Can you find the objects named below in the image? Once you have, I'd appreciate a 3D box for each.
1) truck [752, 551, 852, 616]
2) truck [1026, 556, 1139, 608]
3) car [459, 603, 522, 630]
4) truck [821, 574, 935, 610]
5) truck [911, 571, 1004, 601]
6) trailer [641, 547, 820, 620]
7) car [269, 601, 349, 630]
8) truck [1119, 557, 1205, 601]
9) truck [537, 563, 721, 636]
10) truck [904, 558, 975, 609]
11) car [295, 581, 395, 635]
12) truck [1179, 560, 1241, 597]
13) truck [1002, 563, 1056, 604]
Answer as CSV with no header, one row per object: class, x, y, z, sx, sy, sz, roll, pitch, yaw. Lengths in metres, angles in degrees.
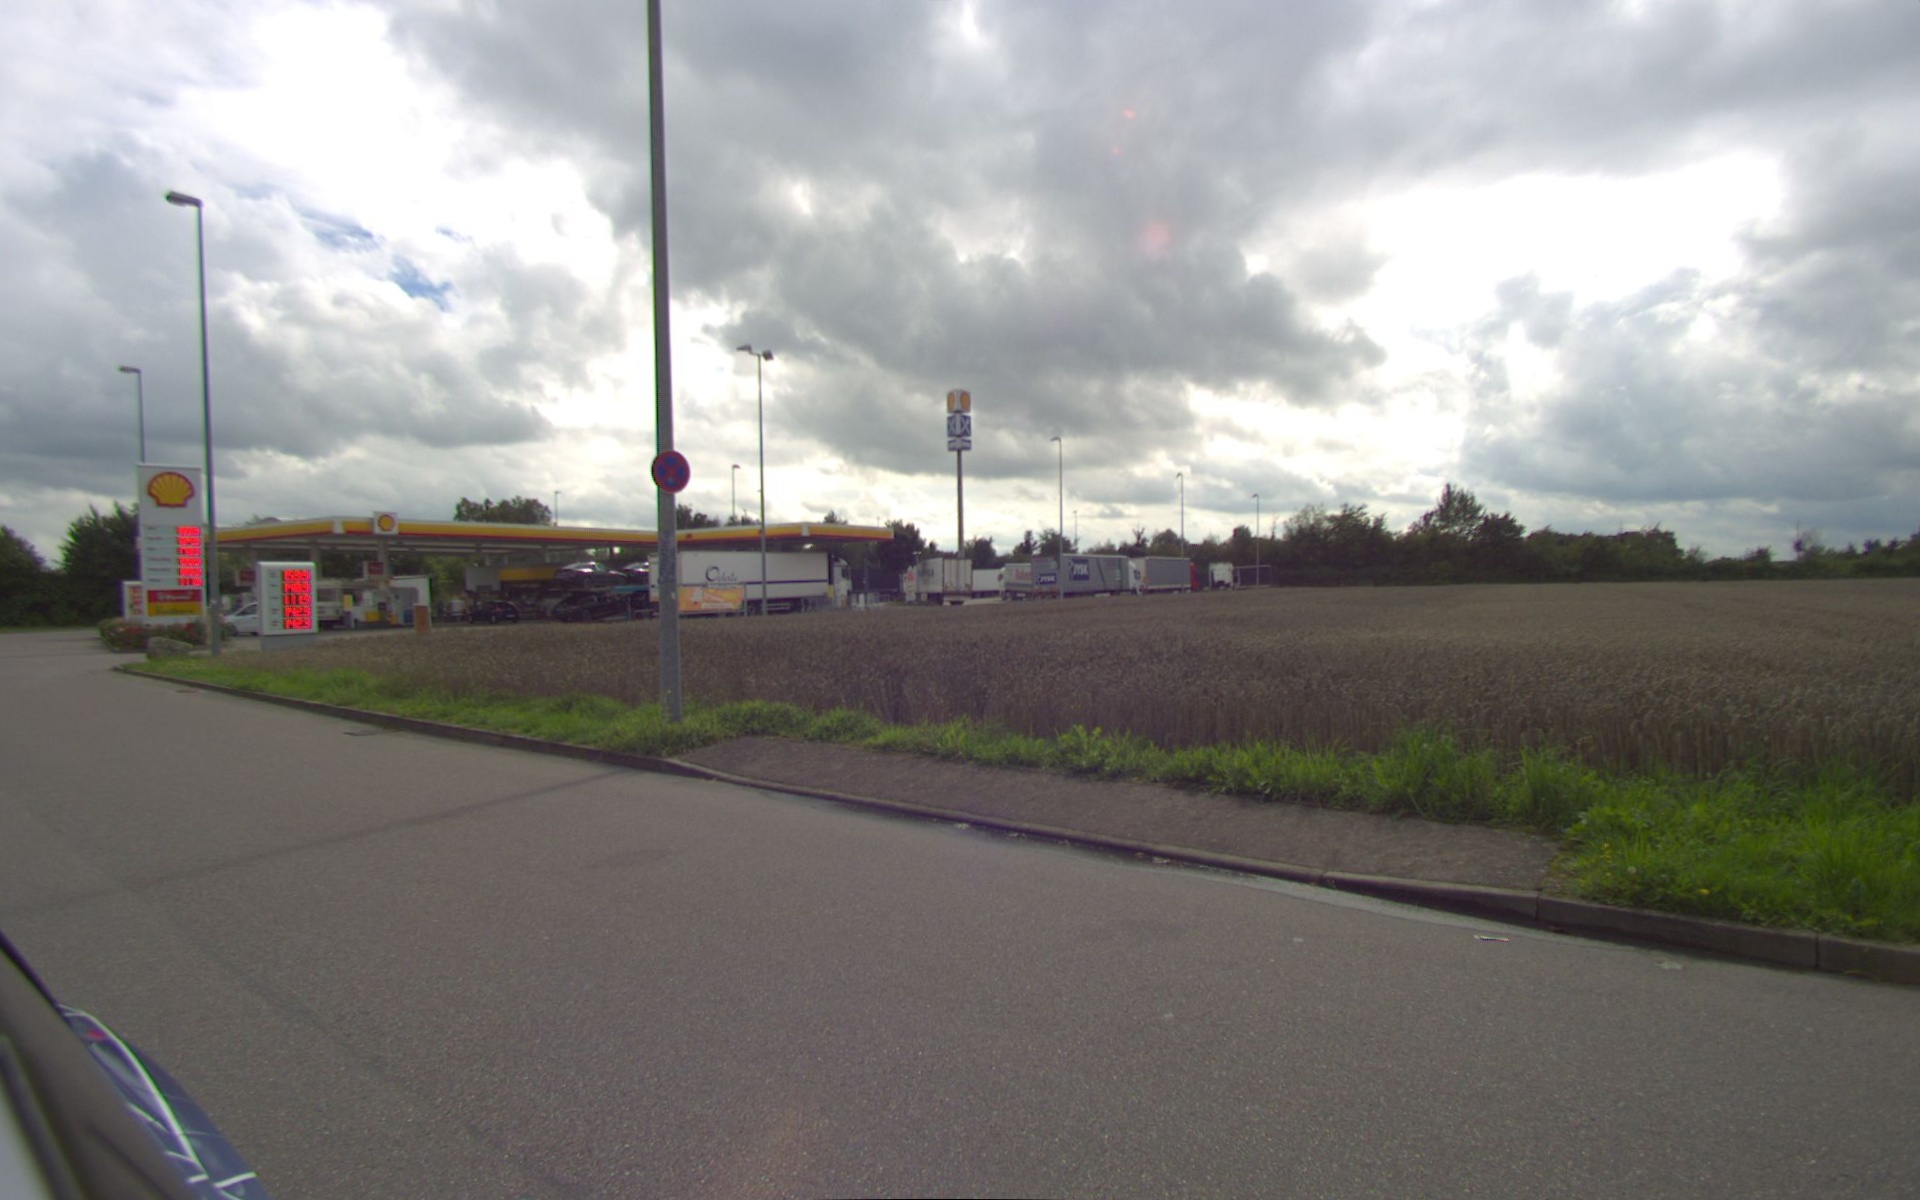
truck,-10.470,-1.107,67.856,2.702,4.055,7.095,-2,0,30
truck,10.382,-1.530,83.363,2.816,3.922,15.290,0,1,33
car,-30.414,1.060,65.546,3.742,1.613,1.701,-2,0,27
truck,-9.542,-0.972,117.778,12.796,3.922,2.832,-1,1,-13
truck,-0.282,-2.004,141.102,12.593,3.922,2.832,-1,1,-15
trailer,-13.707,-1.027,62.314,2.702,4.055,12.716,-2,0,30
car,-38.111,0.874,59.370,1.974,1.571,3.957,-2,0,3
truck,20.027,-2.063,99.225,2.816,3.922,15.290,0,1,33
truck,-19.725,-0.155,61.820,2.734,3.953,13.158,0,1,23
truck,-2.086,-1.478,90.733,2.913,4.143,14.791,-1,1,-14
car,-34.666,0.416,57.323,2.193,2.808,5.810,-2,0,-1
truck,28.470,-2.453,114.630,2.816,3.922,12.667,0,1,33
truck,7.298,-1.707,109.444,2.946,4.141,11.600,-2,0,-10
